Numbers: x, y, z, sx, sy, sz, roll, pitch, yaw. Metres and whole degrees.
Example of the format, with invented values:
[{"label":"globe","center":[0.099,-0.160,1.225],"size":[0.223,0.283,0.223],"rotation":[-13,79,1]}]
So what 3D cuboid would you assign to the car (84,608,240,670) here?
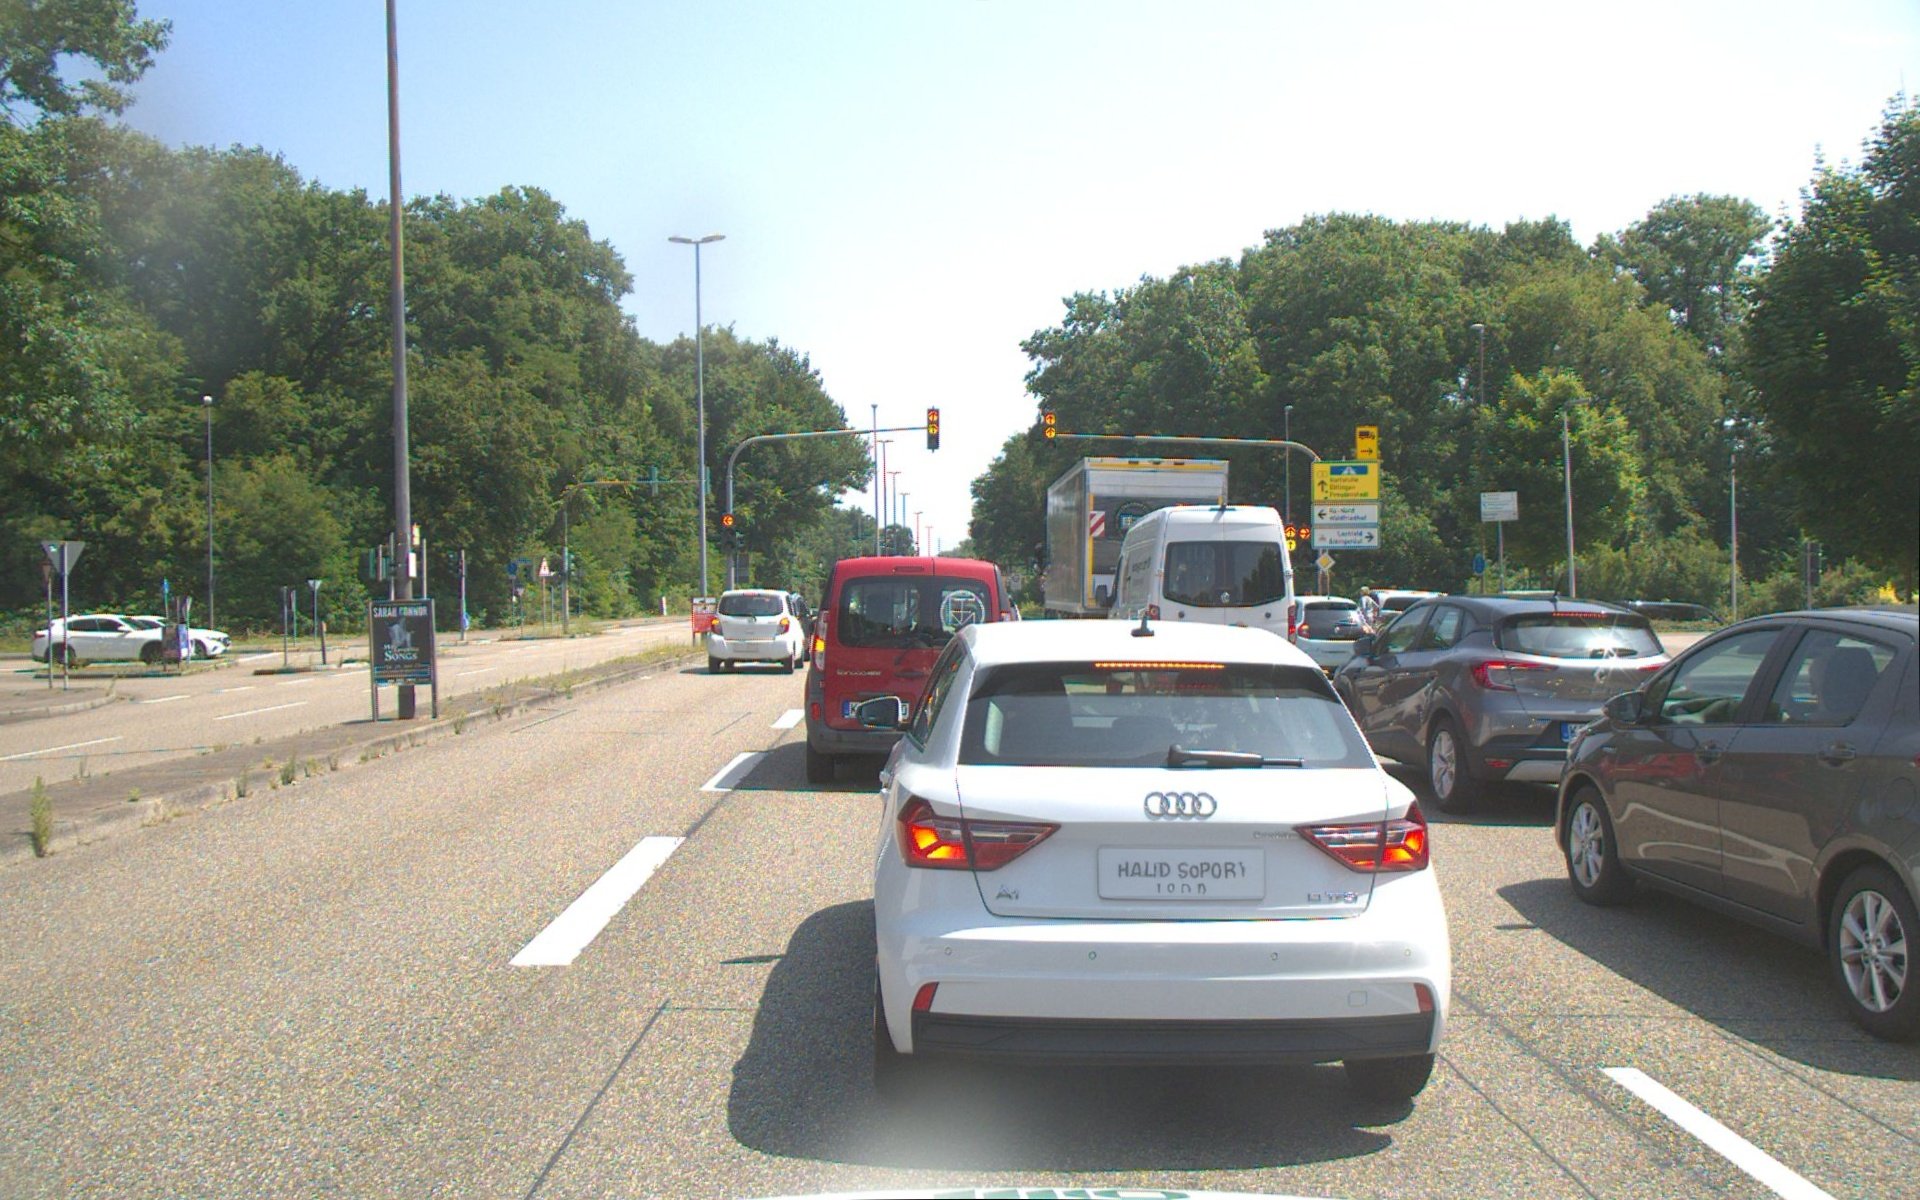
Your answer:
[{"label":"car","center":[-27.008,1.293,56.088],"size":[4.291,1.710,1.807],"rotation":[-4,0,-9]}]

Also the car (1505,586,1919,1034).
[{"label":"car","center":[4.013,0.739,7.262],"size":[1.678,1.504,4.090],"rotation":[3,0,-3]}]

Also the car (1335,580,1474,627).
[{"label":"car","center":[15.580,0.115,58.098],"size":[4.382,1.557,1.797],"rotation":[-1,0,-3]}]

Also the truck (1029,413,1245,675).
[{"label":"truck","center":[3.316,-0.996,34.445],"size":[3.026,4.511,11.577],"rotation":[1,0,-1]}]

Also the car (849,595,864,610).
[{"label":"car","center":[-13.010,0.288,208.252],"size":[1.793,1.758,3.999],"rotation":[-1,0,-2]}]

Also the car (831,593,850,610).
[{"label":"car","center":[-13.160,0.149,182.475],"size":[1.953,1.803,4.203],"rotation":[-1,0,-2]}]

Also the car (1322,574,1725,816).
[{"label":"car","center":[4.251,0.632,13.197],"size":[1.677,1.621,4.090],"rotation":[0,0,-3]}]

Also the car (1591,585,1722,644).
[{"label":"car","center":[25.430,0.501,60.461],"size":[3.906,2.049,2.000],"rotation":[-1,0,-1]}]

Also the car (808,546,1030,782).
[{"label":"car","center":[-0.397,0.477,14.587],"size":[1.677,1.779,4.090],"rotation":[0,0,-3]}]

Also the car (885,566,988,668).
[{"label":"car","center":[-0.475,0.268,28.963],"size":[1.677,1.660,4.090],"rotation":[0,0,-3]}]

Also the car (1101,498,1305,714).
[{"label":"car","center":[3.247,0.063,23.066],"size":[1.990,2.690,4.843],"rotation":[0,0,-2]}]

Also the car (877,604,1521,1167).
[{"label":"car","center":[0.538,0.738,6.323],"size":[1.677,1.410,4.090],"rotation":[0,0,-3]}]

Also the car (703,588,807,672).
[{"label":"car","center":[-3.903,0.539,32.045],"size":[1.677,1.519,4.090],"rotation":[0,0,-3]}]

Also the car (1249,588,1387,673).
[{"label":"car","center":[6.990,0.565,32.695],"size":[1.677,1.573,4.090],"rotation":[0,0,-3]}]

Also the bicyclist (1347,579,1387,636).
[{"label":"bicyclist","center":[10.546,0.203,42.881],"size":[0.813,1.464,0.596],"rotation":[-1,-1,39]}]

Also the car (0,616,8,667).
[{"label":"car","center":[-34.472,1.357,55.156],"size":[4.294,1.711,1.805],"rotation":[1,-1,-13]}]

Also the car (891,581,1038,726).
[{"label":"car","center":[-0.027,0.610,21.087],"size":[1.677,1.660,4.090],"rotation":[0,0,-3]}]

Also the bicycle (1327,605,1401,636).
[{"label":"bicycle","center":[10.489,0.529,42.979],"size":[1.793,0.779,0.598],"rotation":[-1,0,40]}]

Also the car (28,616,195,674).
[{"label":"car","center":[-26.747,1.409,52.273],"size":[4.290,1.711,1.807],"rotation":[1,-1,-9]}]
